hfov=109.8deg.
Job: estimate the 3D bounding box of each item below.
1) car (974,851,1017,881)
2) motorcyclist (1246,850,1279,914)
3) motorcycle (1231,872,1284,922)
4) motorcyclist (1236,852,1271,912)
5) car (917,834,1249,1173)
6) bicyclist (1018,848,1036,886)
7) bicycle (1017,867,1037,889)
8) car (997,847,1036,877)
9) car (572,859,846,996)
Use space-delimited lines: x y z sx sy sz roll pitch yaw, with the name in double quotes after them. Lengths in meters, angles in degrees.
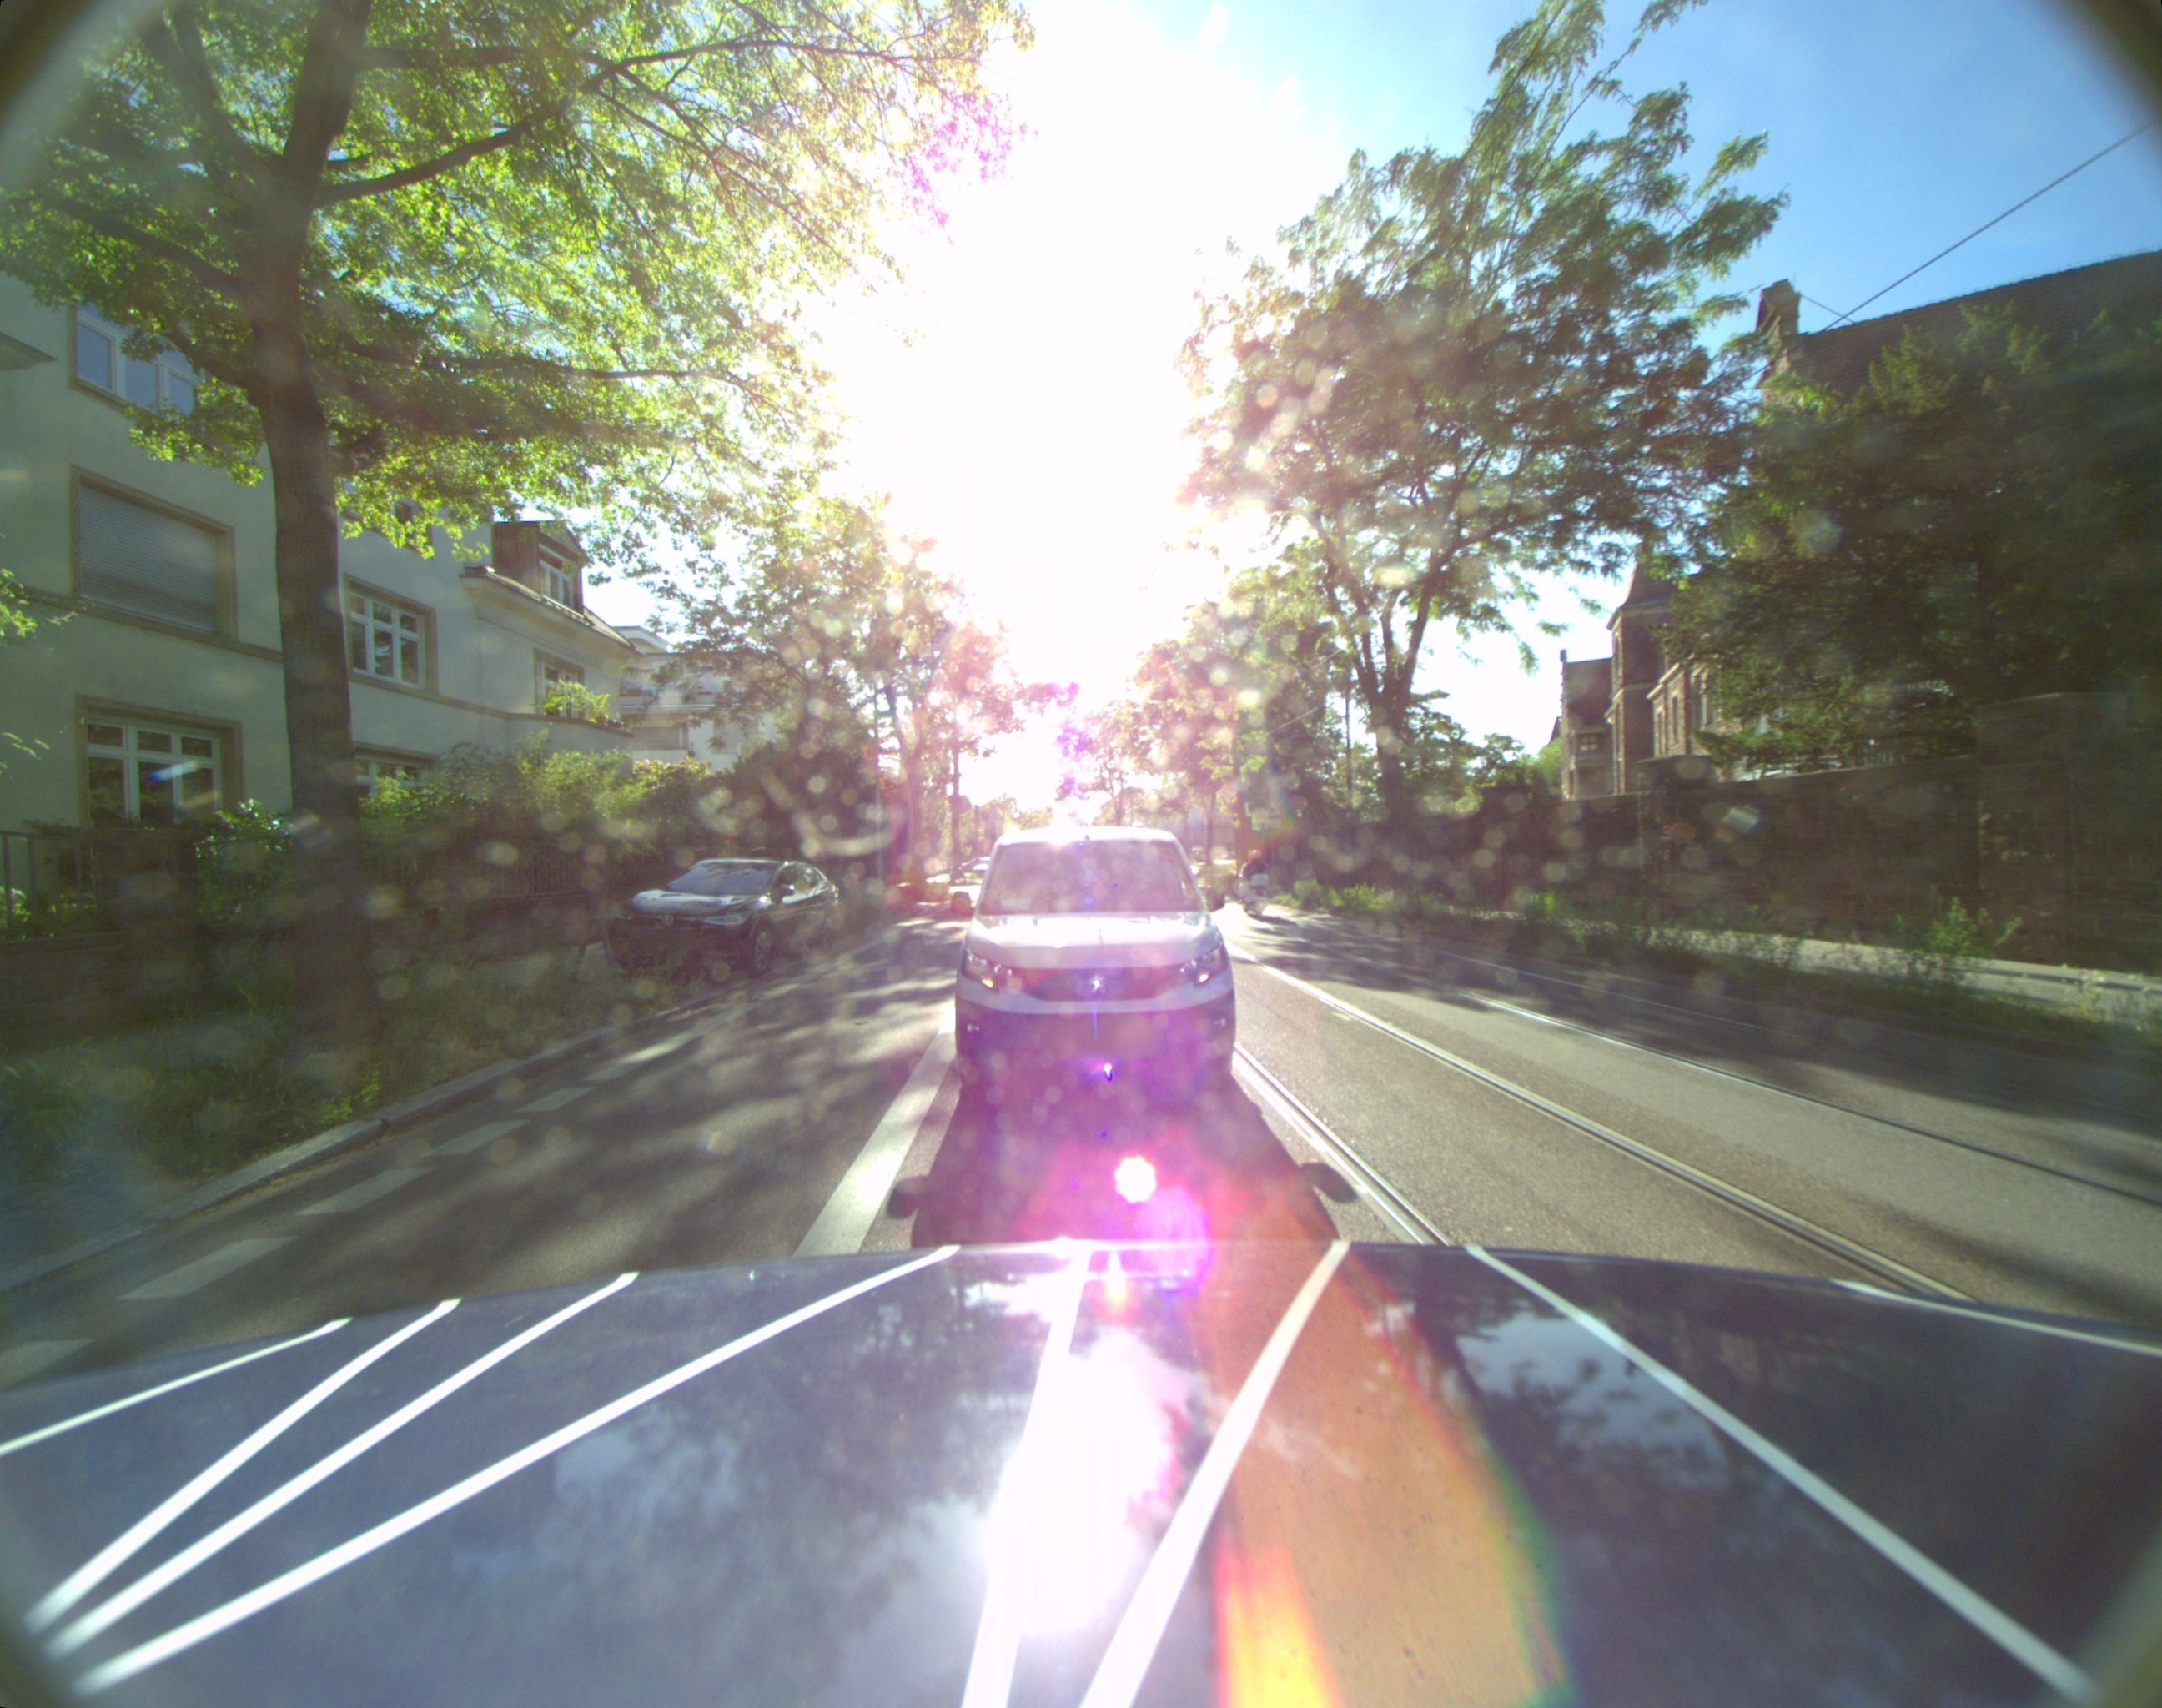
-5.046 0.661 45.211 1.823 1.630 4.001 -2 0 4 "car"
4.340 0.664 18.175 0.608 1.507 0.465 -2 1 -9 "motorcyclist"
4.288 1.020 18.577 0.611 1.087 1.855 -2 0 -8 "motorcycle"
4.236 0.679 18.674 0.686 1.432 0.446 -2 1 -9 "motorcyclist"
0.005 0.801 6.100 1.768 1.812 3.999 -1 0 0 "car"
-2.430 0.579 34.191 0.677 1.648 0.745 -2 1 1 "bicyclist"
-2.418 1.064 34.172 0.677 0.920 1.885 -2 0 1 "bicycle"
-4.362 0.504 51.771 2.129 1.884 4.746 -2 0 1 "car"
-5.253 0.933 11.537 1.999 1.665 4.380 1 -1 0 "car"
